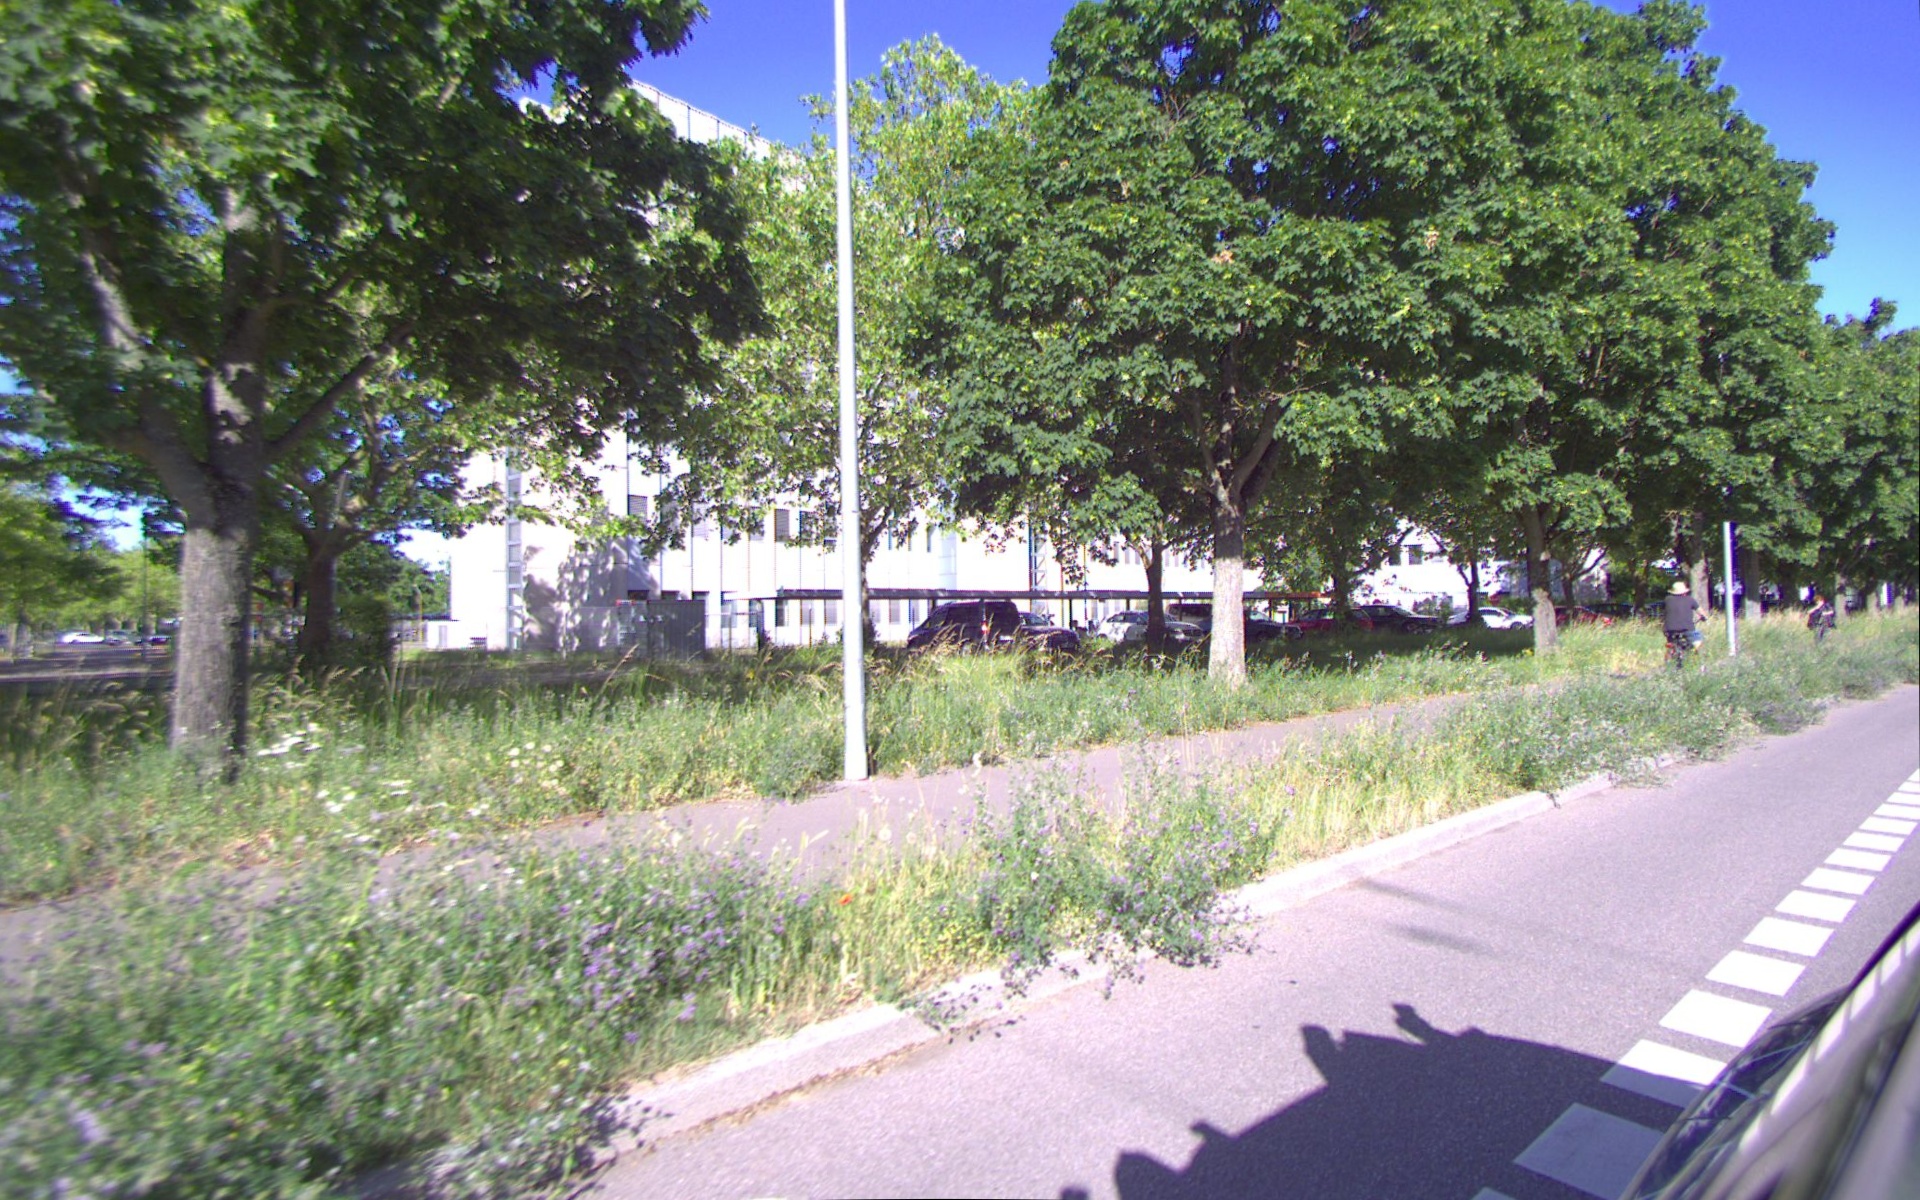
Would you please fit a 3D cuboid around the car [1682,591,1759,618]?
[{"bbox_3d":[53.508,0.307,71.349,1.887,1.774,5.441,-2,-1,9],"label":"car"}]

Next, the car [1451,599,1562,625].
[{"bbox_3d":[27.909,0.602,51.818,1.775,1.287,4.705,1,-1,-40],"label":"car"}]

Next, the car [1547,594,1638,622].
[{"bbox_3d":[36.612,0.431,58.606,4.228,1.555,1.739,0,0,43],"label":"car"}]

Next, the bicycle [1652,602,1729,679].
[{"bbox_3d":[12.352,0.655,17.088,2.105,1.220,0.484,0,-1,-39],"label":"bicycle"}]

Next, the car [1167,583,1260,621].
[{"bbox_3d":[13.832,0.140,55.500,1.938,1.975,4.759,0,-1,-39],"label":"car"}]

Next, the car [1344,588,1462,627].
[{"bbox_3d":[19.397,0.354,44.438,1.851,1.617,4.397,0,-1,-41],"label":"car"}]

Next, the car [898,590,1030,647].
[{"bbox_3d":[0.042,0.520,29.288,1.706,1.524,4.039,0,-1,-37],"label":"car"}]

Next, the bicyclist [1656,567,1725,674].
[{"bbox_3d":[12.293,0.325,17.040,0.886,1.742,0.684,-1,-1,-39],"label":"bicyclist"}]

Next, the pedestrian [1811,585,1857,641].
[{"bbox_3d":[25.189,0.364,29.174,0.748,1.589,0.826,0,-2,-38],"label":"pedestrian"}]

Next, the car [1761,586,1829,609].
[{"bbox_3d":[72.640,-0.158,88.178,2.044,1.900,5.175,-2,-1,7],"label":"car"}]

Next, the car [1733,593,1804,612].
[{"bbox_3d":[64.546,0.216,80.905,1.812,1.467,4.551,-1,-1,-3],"label":"car"}]

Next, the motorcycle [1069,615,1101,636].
[{"bbox_3d":[6.121,1.250,49.737,0.528,0.983,1.652,0,-1,-39],"label":"motorcycle"}]

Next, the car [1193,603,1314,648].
[{"bbox_3d":[10.730,0.937,37.172,1.677,1.545,3.999,0,-1,-41],"label":"car"}]

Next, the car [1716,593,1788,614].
[{"bbox_3d":[61.763,0.263,79.028,1.812,1.535,4.551,-1,-1,-3],"label":"car"}]

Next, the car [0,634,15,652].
[{"bbox_3d":[-79.801,3.608,84.079,1.800,1.481,4.223,0,-2,-41],"label":"car"}]

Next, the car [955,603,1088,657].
[{"bbox_3d":[1.772,0.870,30.526,1.657,1.477,4.369,0,-1,-35],"label":"car"}]

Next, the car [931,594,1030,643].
[{"bbox_3d":[0.841,0.817,44.513,1.921,2.039,4.597,0,-1,-37],"label":"car"}]

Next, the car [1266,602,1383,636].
[{"bbox_3d":[15.048,0.777,41.985,1.902,1.341,4.307,1,-1,-33],"label":"car"}]

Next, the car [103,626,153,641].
[{"bbox_3d":[-90.901,3.666,110.610,4.159,1.481,1.828,-1,-2,-42],"label":"car"}]

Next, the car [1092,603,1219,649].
[{"bbox_3d":[6.593,0.888,34.590,1.790,1.450,4.177,-1,-1,-35],"label":"car"}]

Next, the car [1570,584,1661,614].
[{"bbox_3d":[38.932,-0.075,60.183,4.332,1.722,1.739,0,0,43],"label":"car"}]
